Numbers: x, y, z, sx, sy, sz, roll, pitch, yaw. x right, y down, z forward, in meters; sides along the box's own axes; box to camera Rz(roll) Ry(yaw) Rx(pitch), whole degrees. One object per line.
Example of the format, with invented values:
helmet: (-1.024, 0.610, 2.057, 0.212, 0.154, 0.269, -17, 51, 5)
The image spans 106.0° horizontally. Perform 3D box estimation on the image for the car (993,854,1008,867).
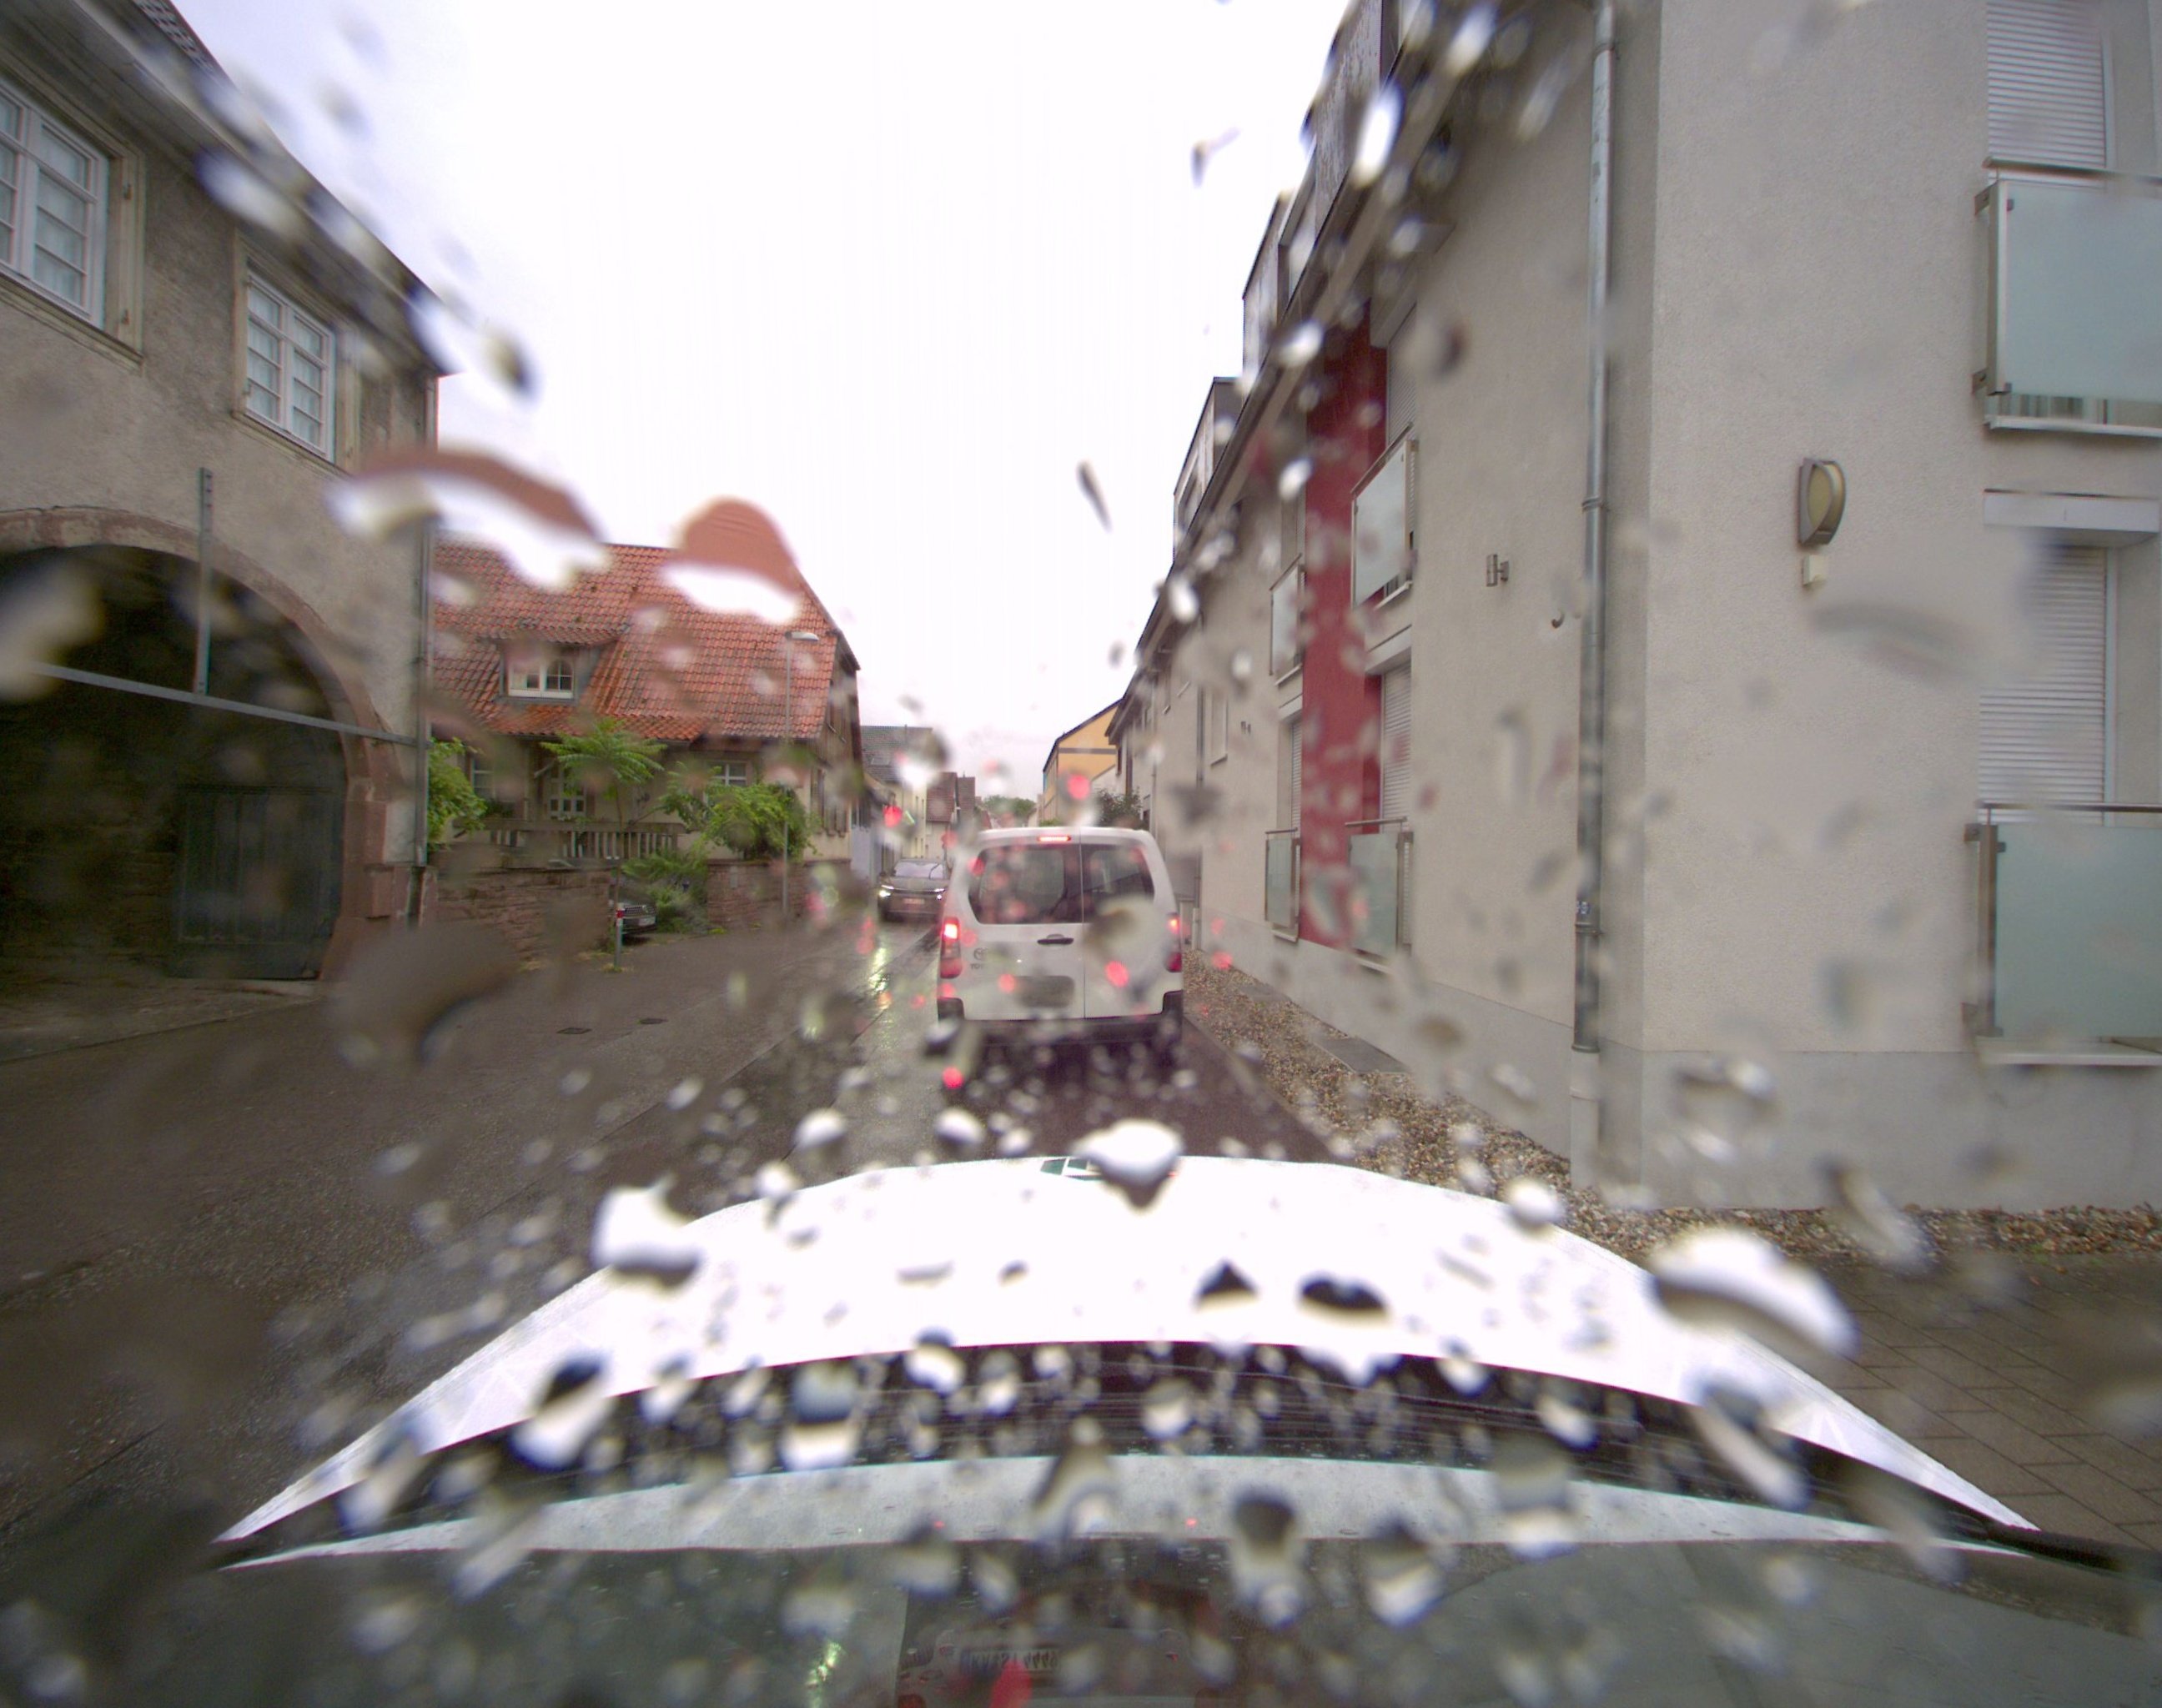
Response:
car: (-9.371, 0.809, 94.776, 1.559, 1.477, 3.989, 0, -1, -7)

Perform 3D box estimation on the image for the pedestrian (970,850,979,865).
pedestrian: (-13.558, 0.396, 103.568, 1.049, 1.893, 0.875, 0, -1, -7)

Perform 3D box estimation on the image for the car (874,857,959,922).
car: (-4.305, 0.870, 21.858, 1.830, 1.556, 4.230, 1, -1, -6)

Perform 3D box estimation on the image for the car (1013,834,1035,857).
car: (-5.324, -0.764, 76.580, 1.989, 2.014, 3.995, 0, -1, -3)

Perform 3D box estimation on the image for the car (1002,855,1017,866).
car: (-9.246, 0.794, 105.501, 1.778, 1.395, 3.989, 0, -1, -7)

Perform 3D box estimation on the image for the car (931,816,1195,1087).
car: (-0.326, 0.655, 7.462, 1.773, 1.780, 3.991, 0, -1, -7)

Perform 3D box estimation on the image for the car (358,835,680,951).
car: (-9.113, 0.619, 13.442, 3.973, 1.425, 1.736, 5, -1, 1)
